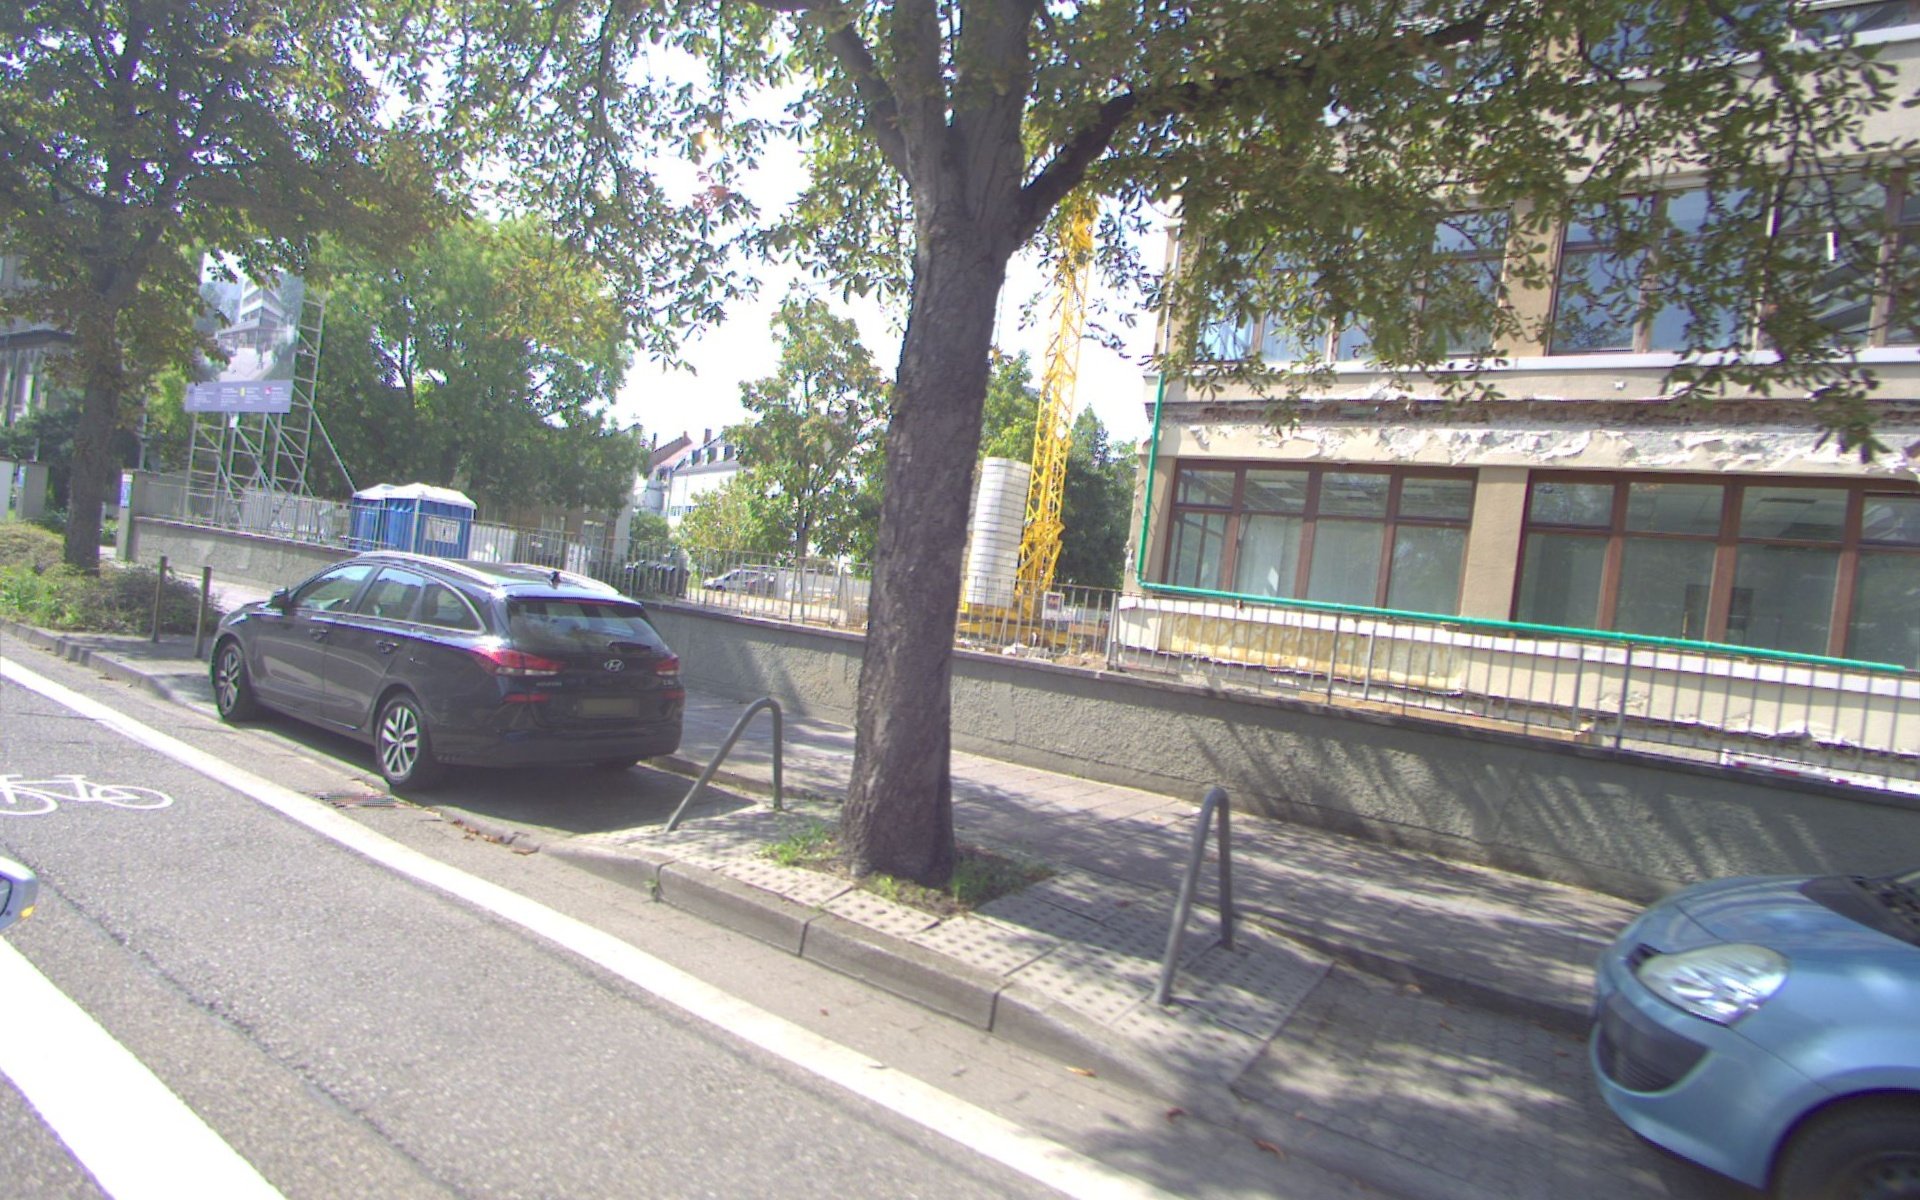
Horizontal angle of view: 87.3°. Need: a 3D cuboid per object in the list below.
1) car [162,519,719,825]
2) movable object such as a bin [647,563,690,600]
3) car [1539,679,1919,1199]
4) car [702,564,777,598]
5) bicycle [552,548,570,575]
[{"bbox_3d":[-4.141,0.361,7.701,4.588,1.476,1.675,7,1,33],"label":"car"},{"bbox_3d":[-13.888,-0.877,47.885,1.328,1.511,1.355,7,1,-44],"label":"movable object such as a bin"},{"bbox_3d":[4.007,1.303,2.637,4.104,1.600,1.674,7,2,33],"label":"car"},{"bbox_3d":[-14.191,-1.221,64.804,4.254,1.614,1.788,8,-1,-28],"label":"car"},{"bbox_3d":[-21.329,-2.053,53.792,0.602,1.318,2.160,7,0,-26],"label":"bicycle"}]
